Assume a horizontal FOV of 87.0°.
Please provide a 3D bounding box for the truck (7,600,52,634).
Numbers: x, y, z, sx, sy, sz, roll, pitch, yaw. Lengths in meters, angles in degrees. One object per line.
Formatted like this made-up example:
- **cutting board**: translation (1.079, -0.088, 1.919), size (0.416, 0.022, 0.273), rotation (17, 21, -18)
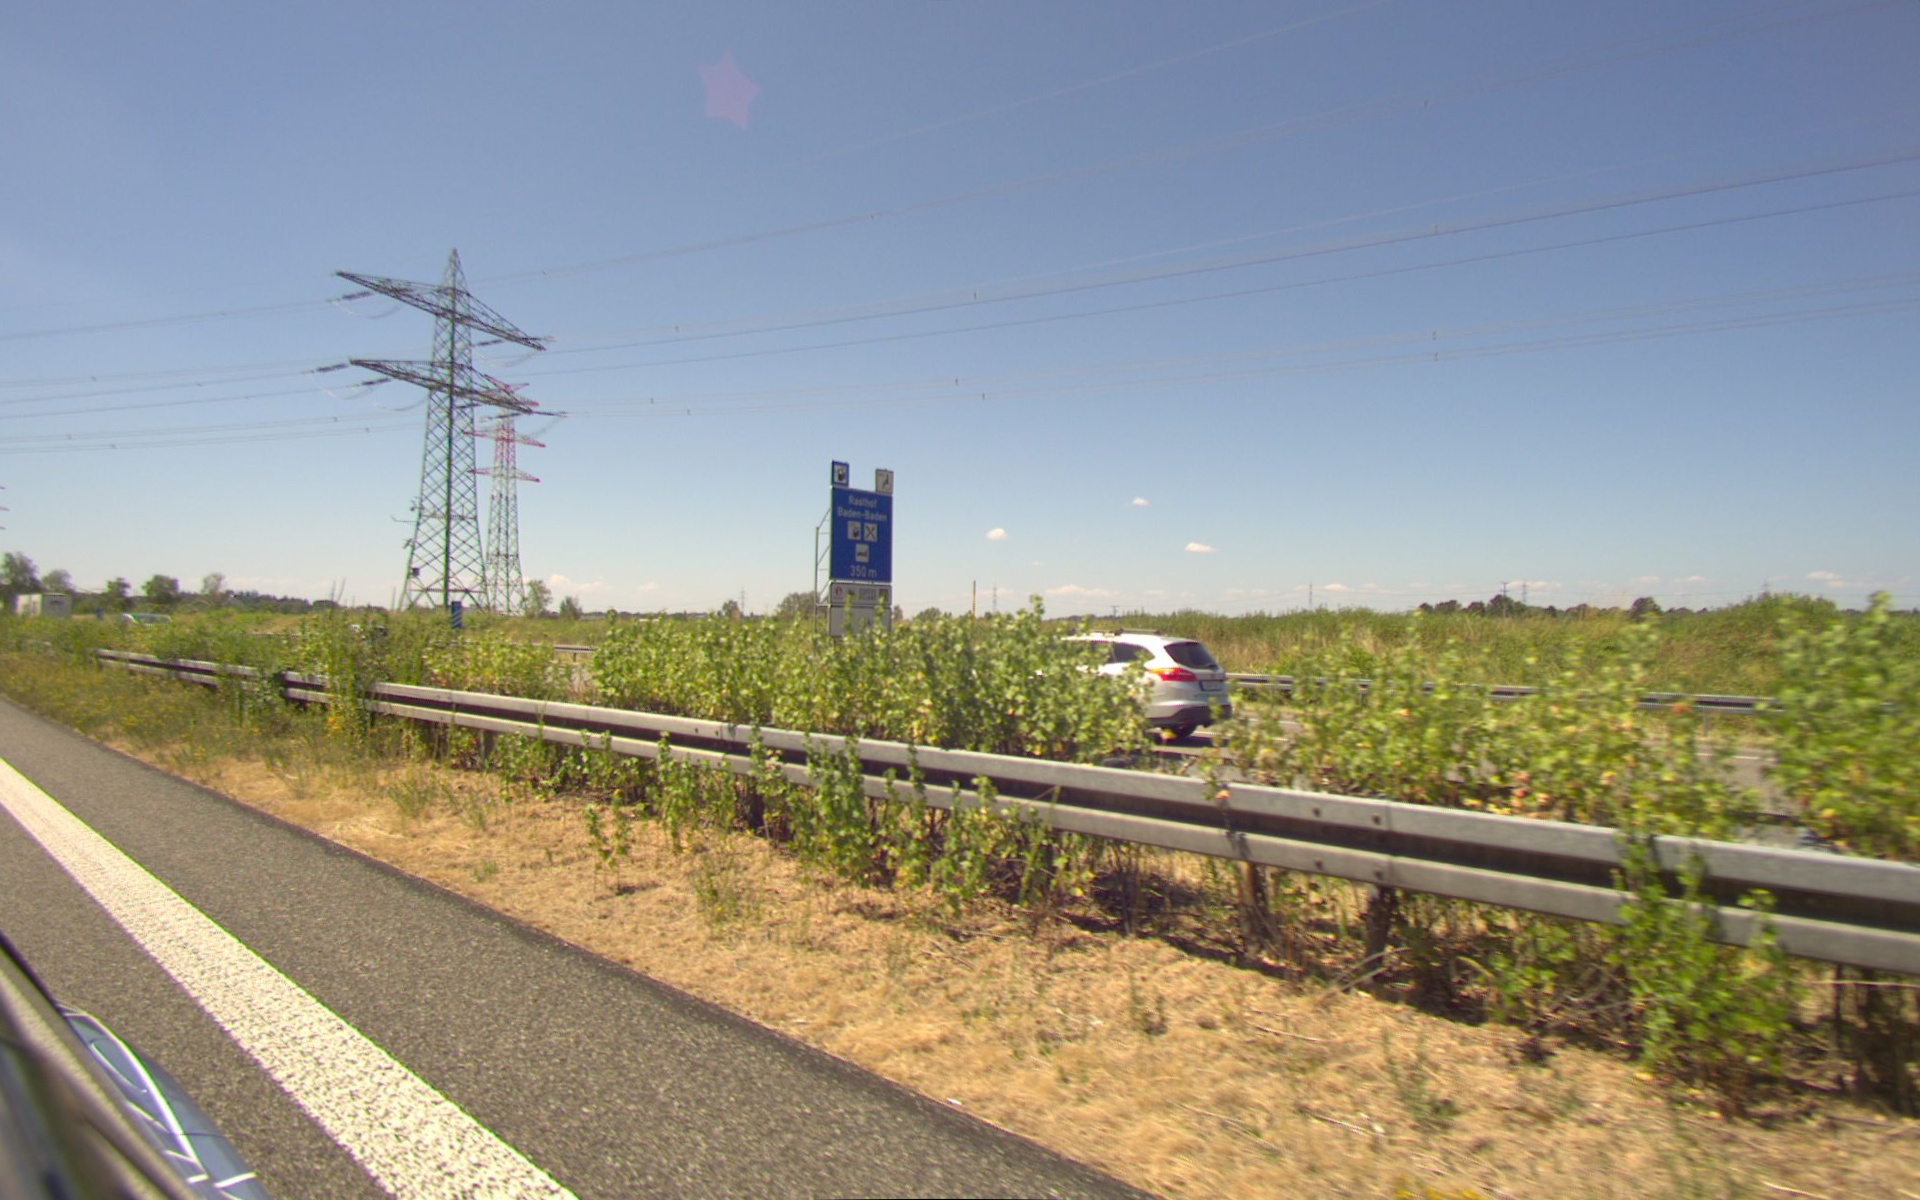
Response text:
- **truck**: translation (-104.930, 1.954, 114.123), size (6.844, 3.780, 2.806), rotation (-1, -3, 40)

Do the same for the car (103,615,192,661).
- **car**: translation (-31.280, 1.428, 38.940), size (4.266, 1.697, 1.794), rotation (-1, -2, 39)

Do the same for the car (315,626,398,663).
- **car**: translation (-25.099, 1.828, 42.045), size (4.266, 1.445, 1.578), rotation (-1, -2, 39)

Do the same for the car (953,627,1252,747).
- **car**: translation (1.972, 1.151, 14.706), size (3.998, 1.491, 1.793), rotation (-1, -2, 41)

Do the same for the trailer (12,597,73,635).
- **trailer**: translation (-98.906, 1.747, 108.991), size (15.968, 3.851, 2.824), rotation (-1, -2, 41)
